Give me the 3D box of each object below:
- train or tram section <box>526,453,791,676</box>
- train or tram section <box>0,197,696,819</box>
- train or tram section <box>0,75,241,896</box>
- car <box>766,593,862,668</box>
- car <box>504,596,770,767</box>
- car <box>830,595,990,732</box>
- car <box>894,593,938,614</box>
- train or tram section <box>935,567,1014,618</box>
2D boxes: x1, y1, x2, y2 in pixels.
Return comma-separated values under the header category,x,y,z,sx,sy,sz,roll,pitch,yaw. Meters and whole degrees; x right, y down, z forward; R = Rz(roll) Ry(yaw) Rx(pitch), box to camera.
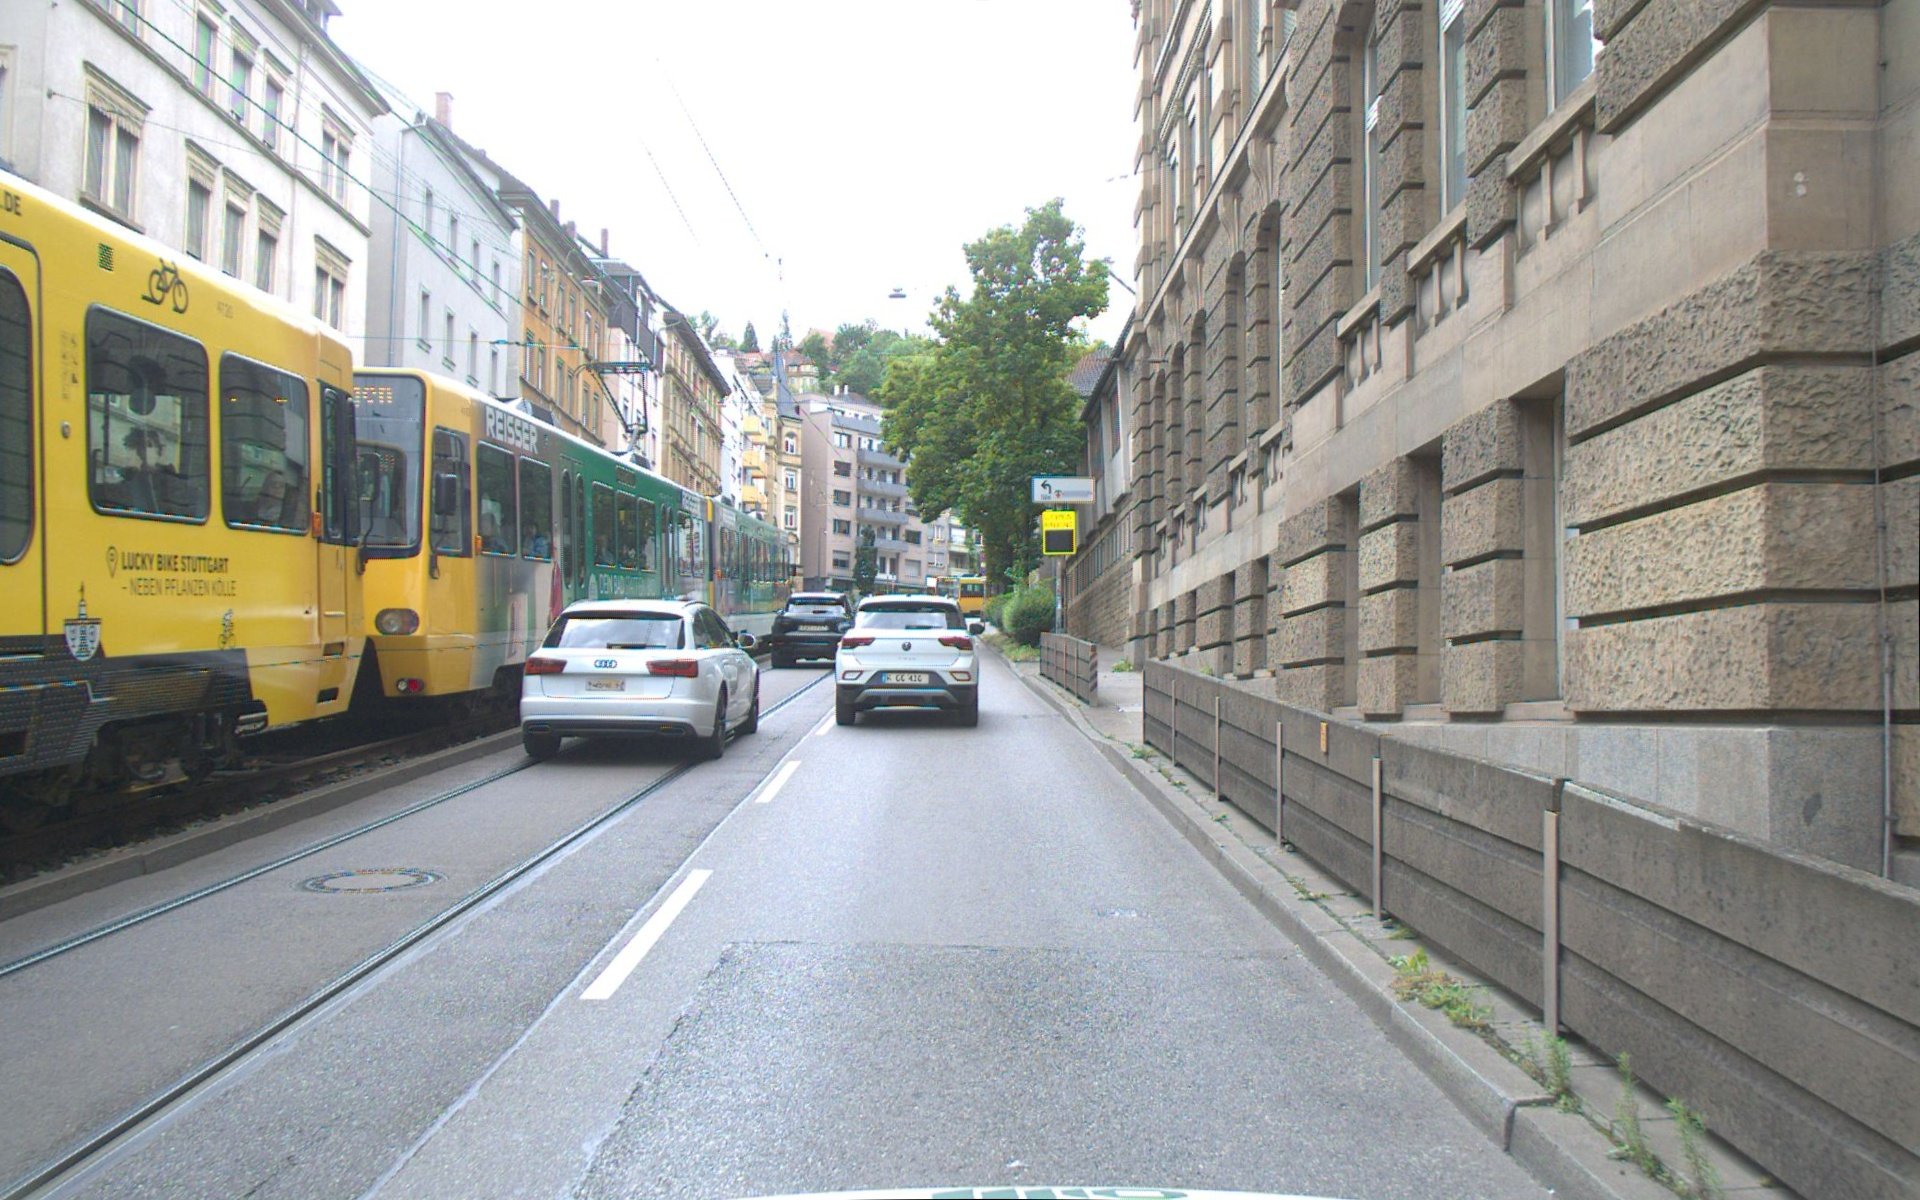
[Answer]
category,x,y,z,sx,sy,sz,roll,pitch,yaw
train or tram section,-6.251,-0.640,38.405,2.818,3.790,18.753,2,0,-1
train or tram section,-6.018,-0.616,19.610,2.818,3.790,18.753,2,0,-1
train or tram section,-5.739,-0.541,0.789,2.818,3.790,18.698,2,0,-1
car,-3.291,0.646,37.935,1.997,1.599,4.356,1,0,-3
car,-3.078,0.726,16.721,1.841,1.480,4.616,0,0,-1
car,-0.613,0.734,21.291,1.841,1.582,3.999,1,0,-1
car,-4.376,0.338,165.667,1.961,2.071,4.681,1,0,37
train or tram section,1.535,-0.610,151.087,2.952,4.287,18.873,1,0,14
